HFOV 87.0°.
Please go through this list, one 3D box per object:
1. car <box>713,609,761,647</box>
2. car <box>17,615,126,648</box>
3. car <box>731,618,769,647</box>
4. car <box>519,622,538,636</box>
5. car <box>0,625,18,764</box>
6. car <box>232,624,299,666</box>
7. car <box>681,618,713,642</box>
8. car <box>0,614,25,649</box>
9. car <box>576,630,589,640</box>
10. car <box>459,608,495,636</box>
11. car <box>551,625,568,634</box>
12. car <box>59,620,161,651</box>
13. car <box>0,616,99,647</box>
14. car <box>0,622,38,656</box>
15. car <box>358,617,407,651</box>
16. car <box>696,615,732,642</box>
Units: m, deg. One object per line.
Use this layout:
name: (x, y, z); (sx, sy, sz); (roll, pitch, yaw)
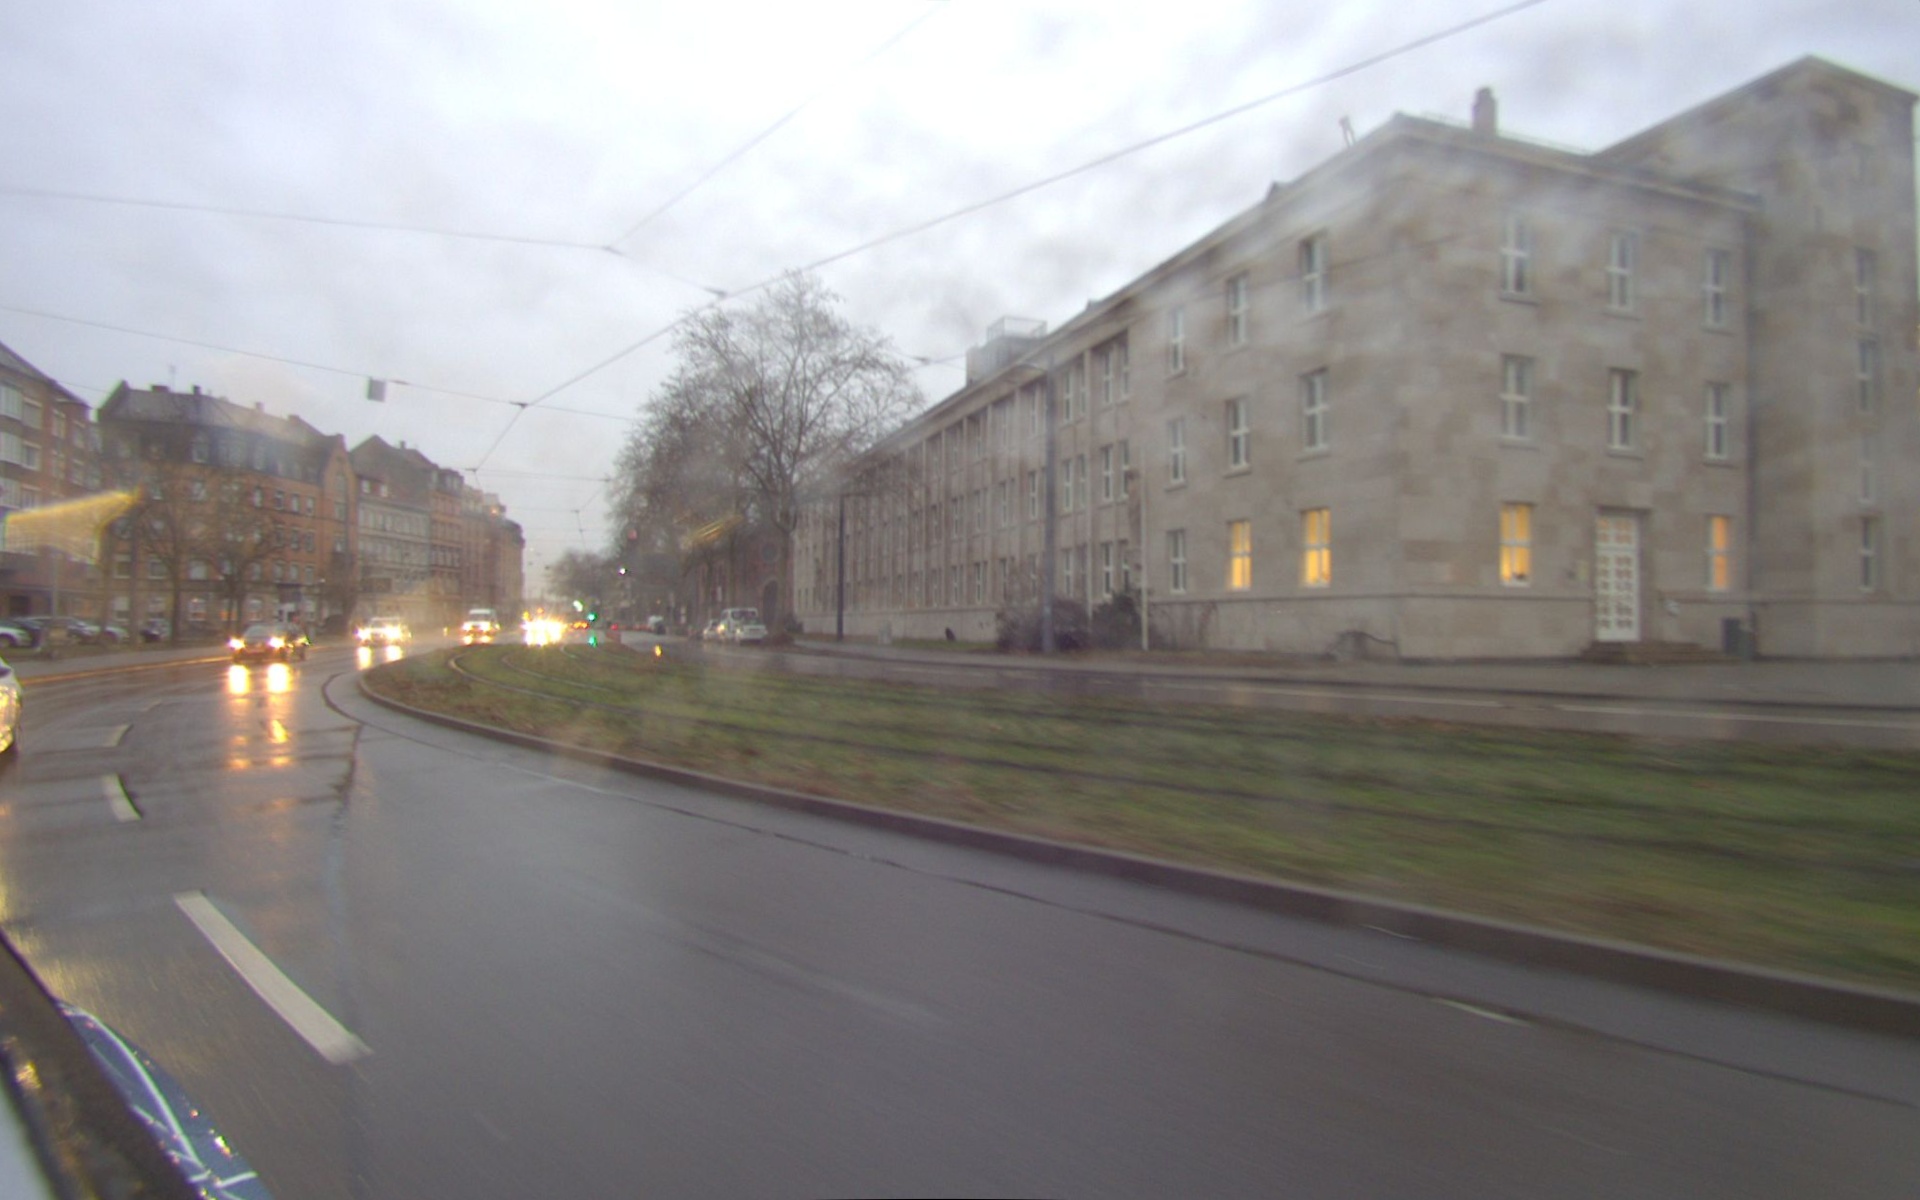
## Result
car: (-12.847, 1.566, 58.058); (1.965, 2.029, 4.524); (-2, 0, -21)
car: (-40.938, 1.422, 46.678); (3.711, 1.364, 1.603); (-1, 0, -44)
car: (-11.169, 1.710, 53.705); (1.534, 1.439, 2.964); (0, -1, -20)
car: (-54.566, 3.667, 128.111); (1.623, 1.763, 3.563); (1, -2, -13)
car: (-10.279, 0.987, 9.519); (1.688, 1.423, 3.687); (-1, 0, -37)
car: (-25.158, 1.597, 36.741); (1.563, 1.437, 3.144); (1, -2, -27)
car: (-19.119, 2.174, 73.464); (1.588, 1.673, 3.623); (1, -2, -25)
car: (-38.175, 1.200, 38.557); (3.710, 1.342, 1.603); (2, -2, -44)
car: (-72.829, 6.687, 195.215); (1.921, 1.829, 4.010); (1, -1, -13)
car: (-44.272, 1.991, 92.848); (2.094, 2.398, 5.655); (-1, 0, -17)
car: (-63.440, 4.635, 160.390); (1.866, 1.424, 3.955); (1, -2, -11)
car: (-41.634, 1.730, 49.594); (3.711, 1.364, 1.603); (-1, 0, -44)
car: (-39.252, 1.344, 43.099); (1.600, 1.288, 3.717); (-1, -2, 39)
car: (-39.306, 1.589, 40.348); (3.711, 1.341, 1.603); (-1, 0, -45)
car: (-31.371, 1.805, 55.074); (1.647, 1.672, 4.161); (-2, 0, -20)
car: (-16.458, 1.877, 67.615); (1.796, 1.667, 3.872); (-2, 0, -21)
